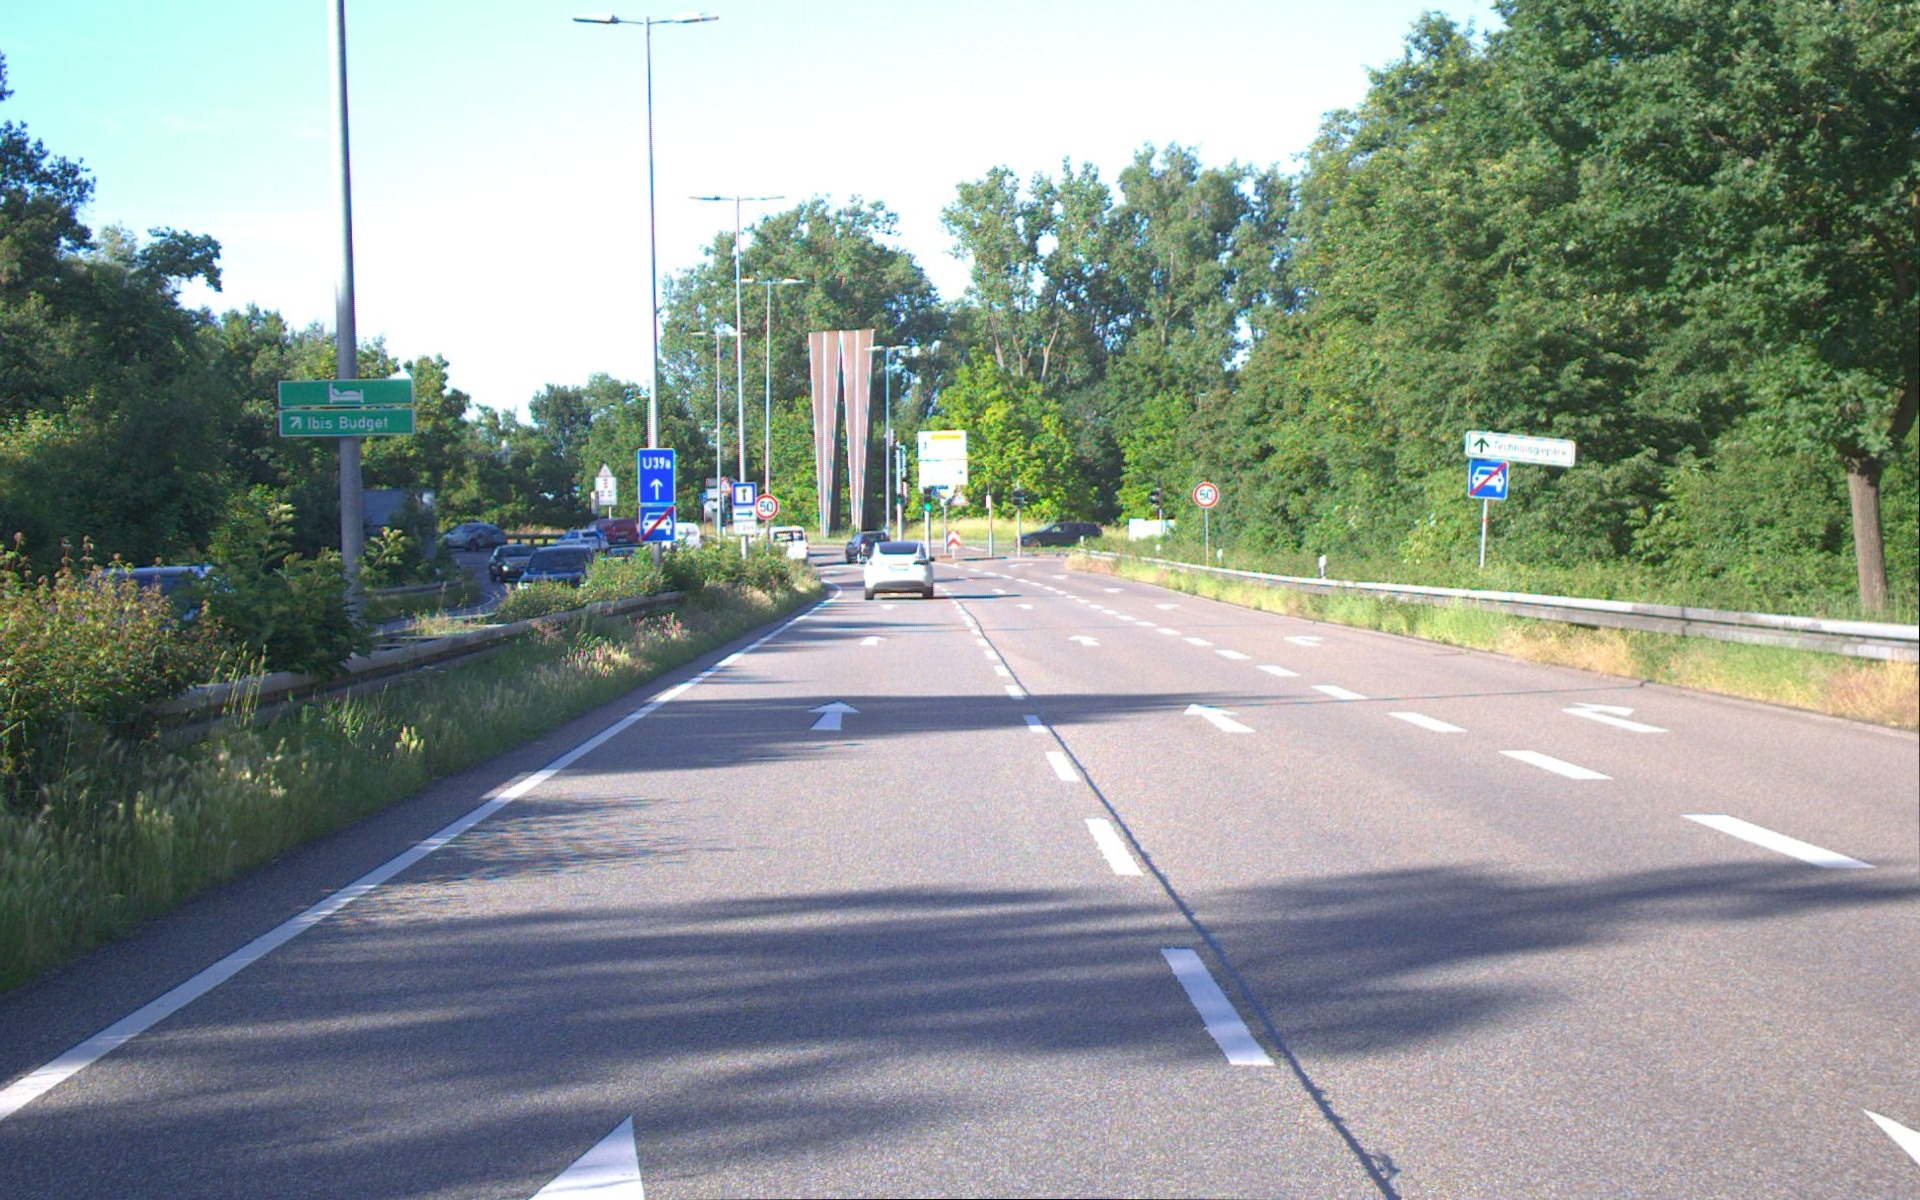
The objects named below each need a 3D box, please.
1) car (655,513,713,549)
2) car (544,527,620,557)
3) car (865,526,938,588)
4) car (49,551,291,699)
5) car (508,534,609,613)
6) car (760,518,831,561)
[{"bbox_3d":[-14.070,-3.523,175.147,1.968,1.692,4.001,-2,2,-19],"label":"car"},{"bbox_3d":[-20.333,-3.120,184.826,2.267,1.503,3.999,-2,1,-37],"label":"car"},{"bbox_3d":[-1.655,-1.223,96.537,1.993,1.634,4.129,-1,2,-1],"label":"car"},{"bbox_3d":[-8.438,0.220,37.049,1.751,1.445,4.433,-1,1,-3],"label":"car"},{"bbox_3d":[-9.027,-0.622,77.596,1.785,1.704,4.547,-1,1,-1],"label":"car"},{"bbox_3d":[-7.474,-2.761,156.062,1.993,1.873,4.250,-2,2,-20],"label":"car"}]
